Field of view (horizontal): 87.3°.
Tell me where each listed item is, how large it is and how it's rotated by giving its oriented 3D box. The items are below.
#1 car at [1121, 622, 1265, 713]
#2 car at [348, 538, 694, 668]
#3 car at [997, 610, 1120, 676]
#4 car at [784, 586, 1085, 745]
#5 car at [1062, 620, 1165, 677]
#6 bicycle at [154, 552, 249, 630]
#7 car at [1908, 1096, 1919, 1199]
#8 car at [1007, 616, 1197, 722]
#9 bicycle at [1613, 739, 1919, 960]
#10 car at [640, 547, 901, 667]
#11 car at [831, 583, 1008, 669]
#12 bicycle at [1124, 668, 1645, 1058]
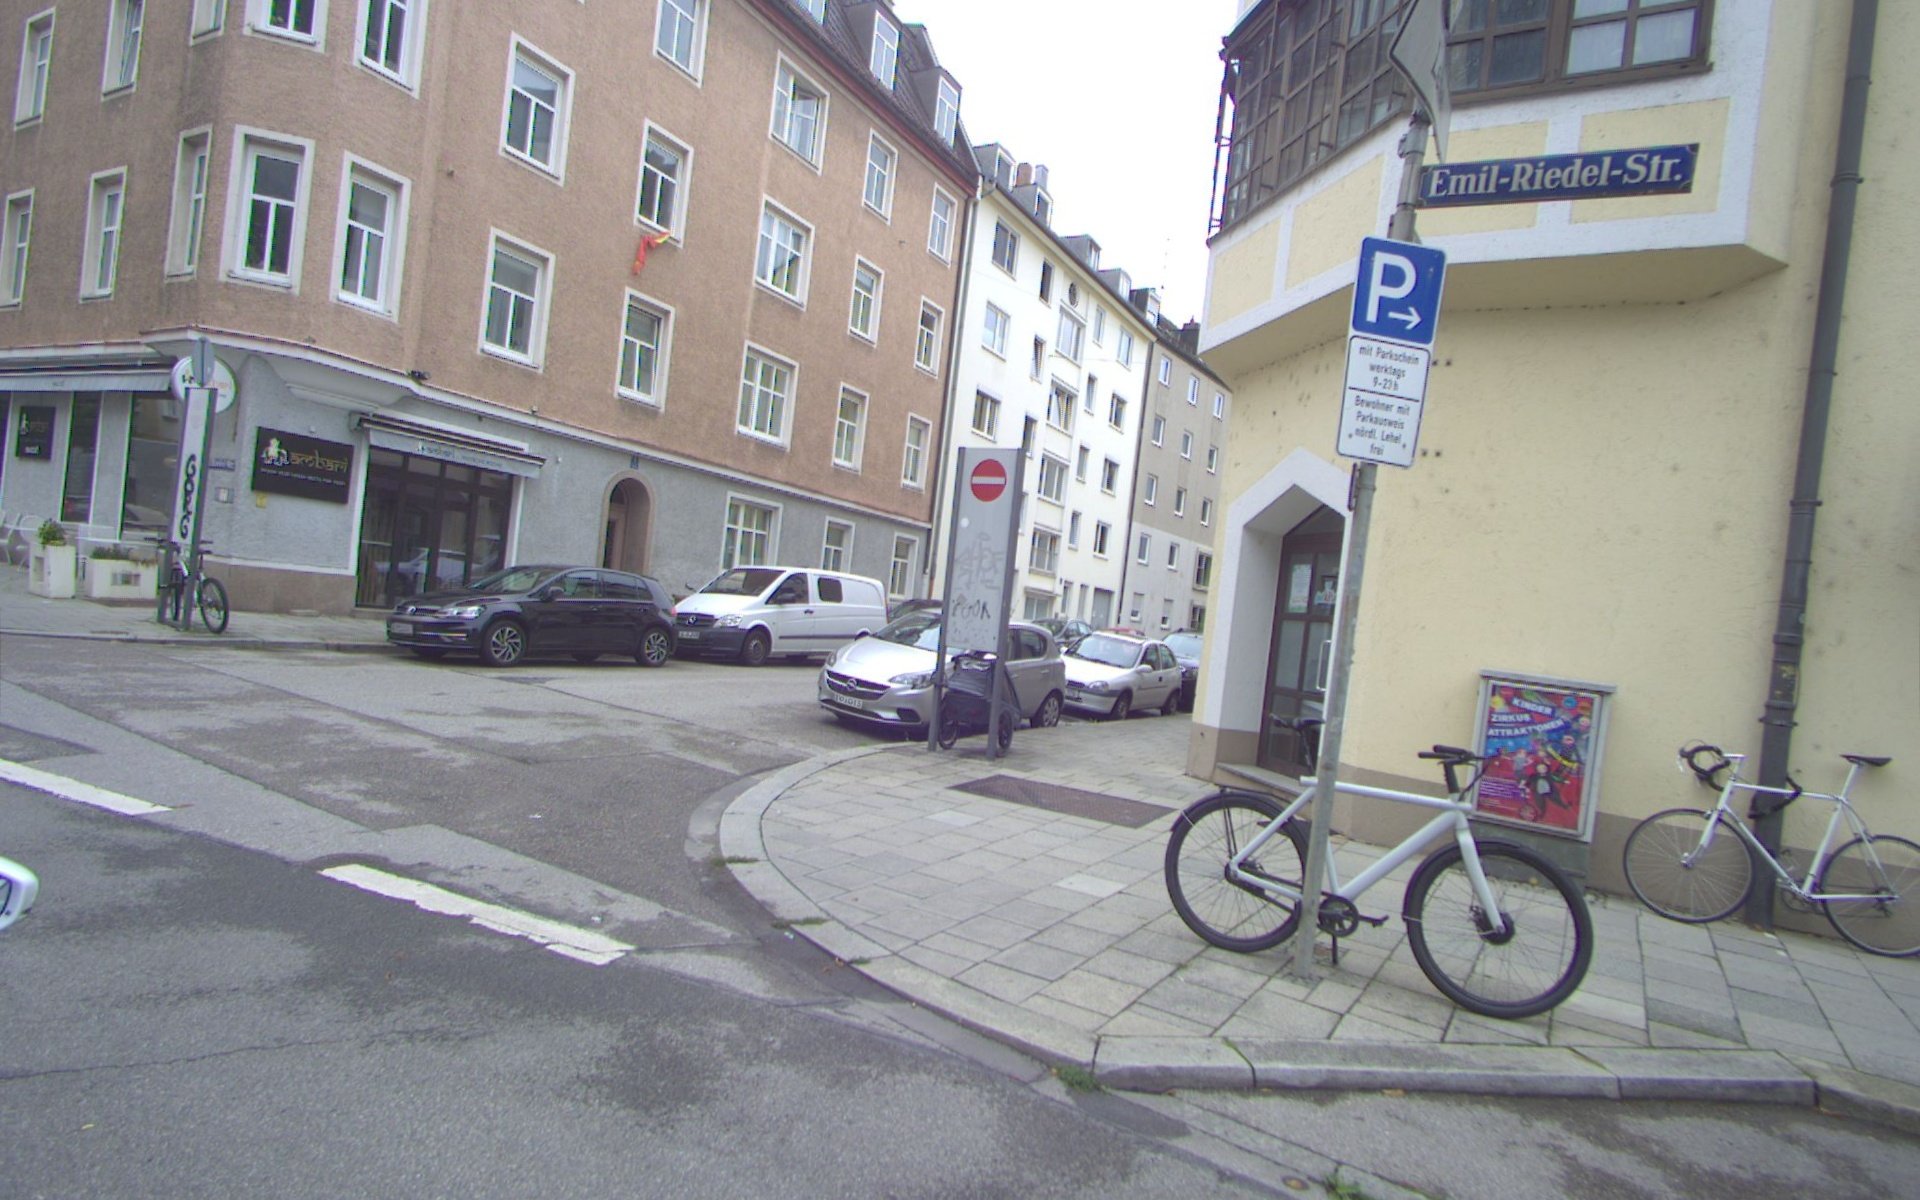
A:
[{"bbox_3d":[5.108,1.465,21.706,1.717,1.564,3.812,9,1,32],"label":"car"},{"bbox_3d":[-6.063,0.127,14.417,1.893,1.446,4.177,5,-2,30],"label":"car"},{"bbox_3d":[3.123,1.354,30.950,2.065,1.707,4.355,5,-2,30],"label":"car"},{"bbox_3d":[-0.136,0.832,12.728,1.717,1.475,4.042,9,1,32],"label":"car"},{"bbox_3d":[5.504,1.740,35.546,2.065,1.707,4.355,5,-2,30],"label":"car"},{"bbox_3d":[-9.604,-0.125,12.723,1.304,0.815,0.457,8,0,32],"label":"bicycle"},{"bbox_3d":[4.555,1.194,1.270,4.435,1.701,1.820,7,1,31],"label":"car"},{"bbox_3d":[2.571,1.204,17.420,1.717,1.394,3.812,9,1,32],"label":"car"},{"bbox_3d":[4.969,1.469,6.033,1.656,0.989,0.271,7,-1,30],"label":"bicycle"},{"bbox_3d":[-3.469,0.238,19.608,2.065,1.876,5.136,5,-2,30],"label":"car"},{"bbox_3d":[-0.852,0.697,24.495,2.065,1.707,4.616,5,-2,30],"label":"car"},{"bbox_3d":[1.821,1.052,4.542,1.963,1.222,0.514,7,0,32],"label":"bicycle"}]
